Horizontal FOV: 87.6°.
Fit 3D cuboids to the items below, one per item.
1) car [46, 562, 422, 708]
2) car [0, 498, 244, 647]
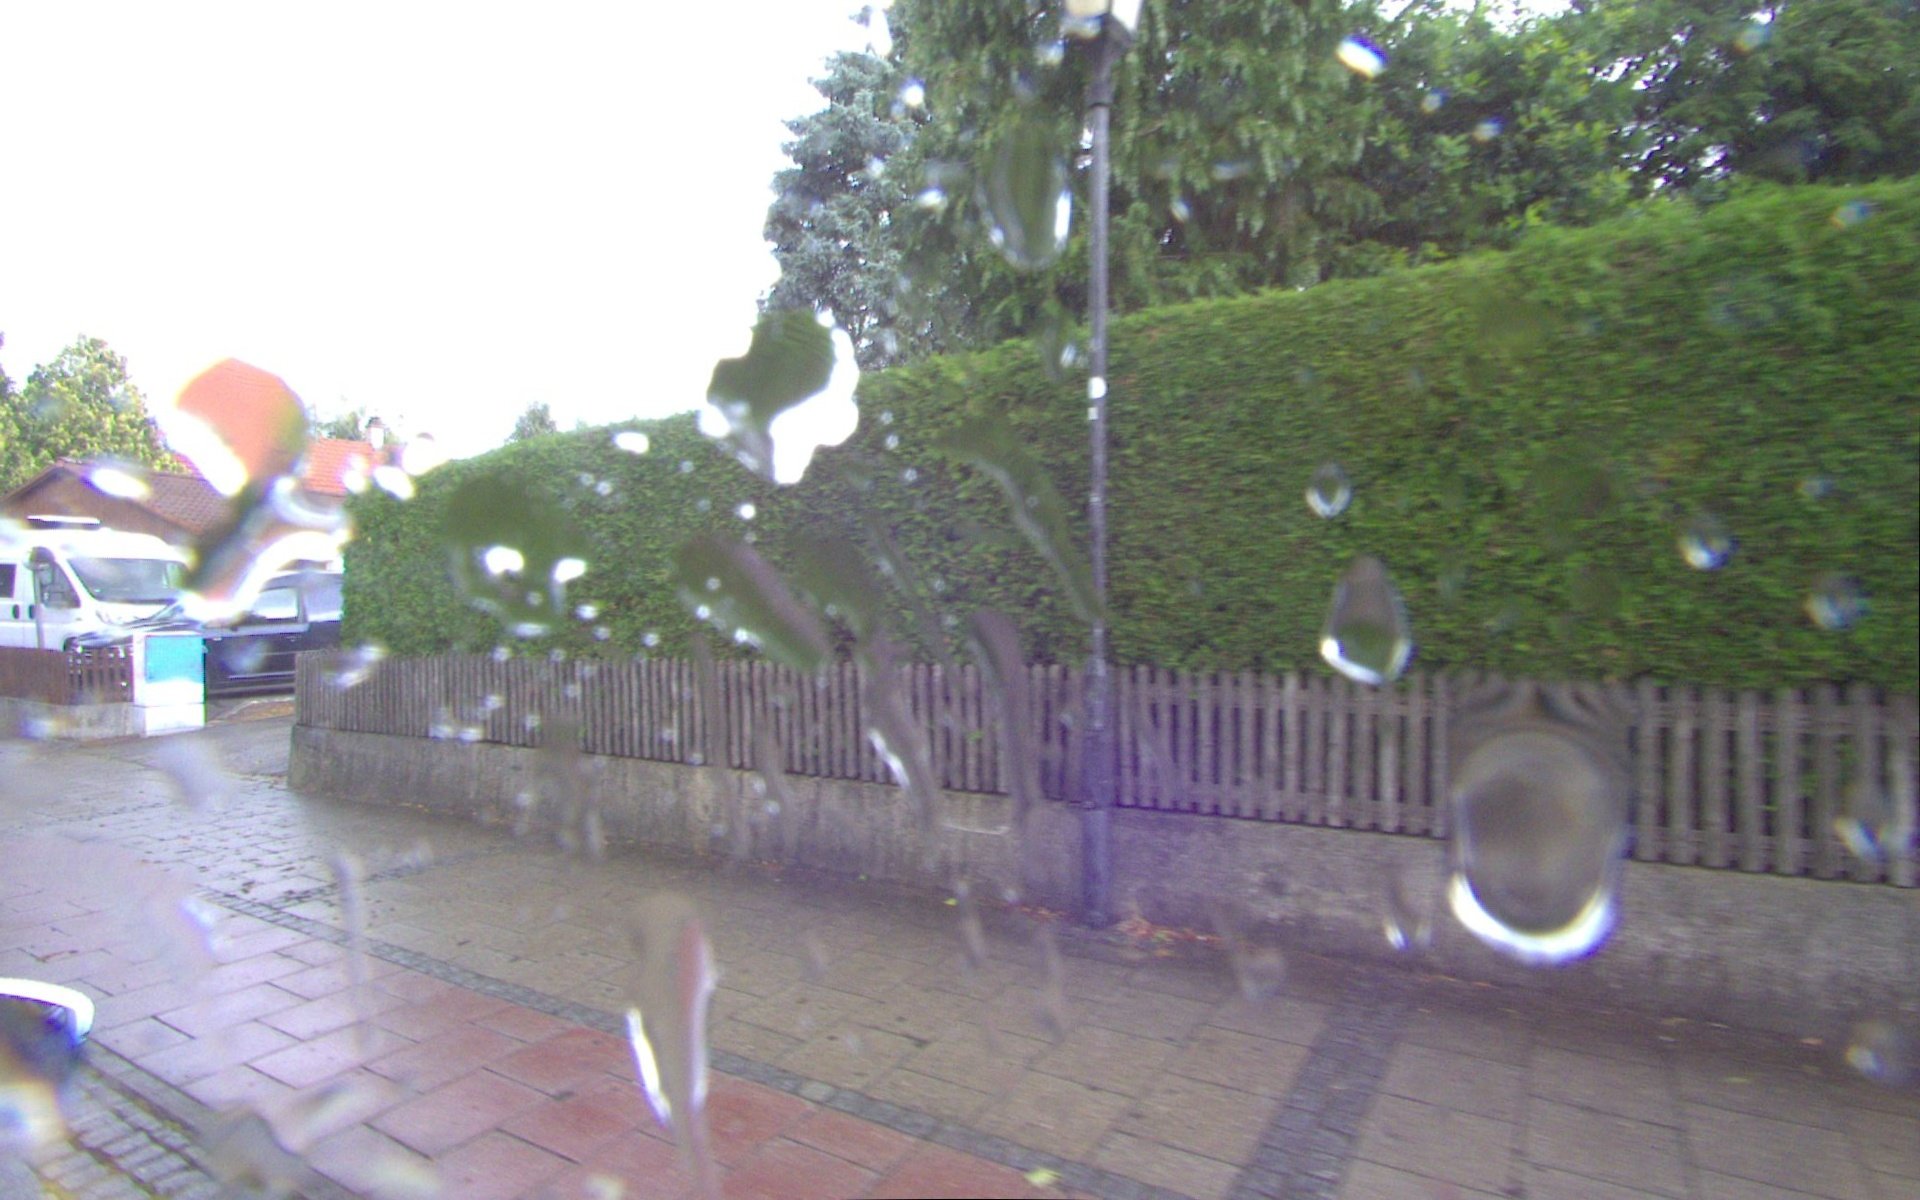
[{"bbox_3d":[-10.220,0.417,14.454,1.668,1.775,4.089,2,1,29],"label":"car"},{"bbox_3d":[-14.673,-0.336,16.685,4.865,2.201,1.997,-1,-2,19],"label":"car"}]
